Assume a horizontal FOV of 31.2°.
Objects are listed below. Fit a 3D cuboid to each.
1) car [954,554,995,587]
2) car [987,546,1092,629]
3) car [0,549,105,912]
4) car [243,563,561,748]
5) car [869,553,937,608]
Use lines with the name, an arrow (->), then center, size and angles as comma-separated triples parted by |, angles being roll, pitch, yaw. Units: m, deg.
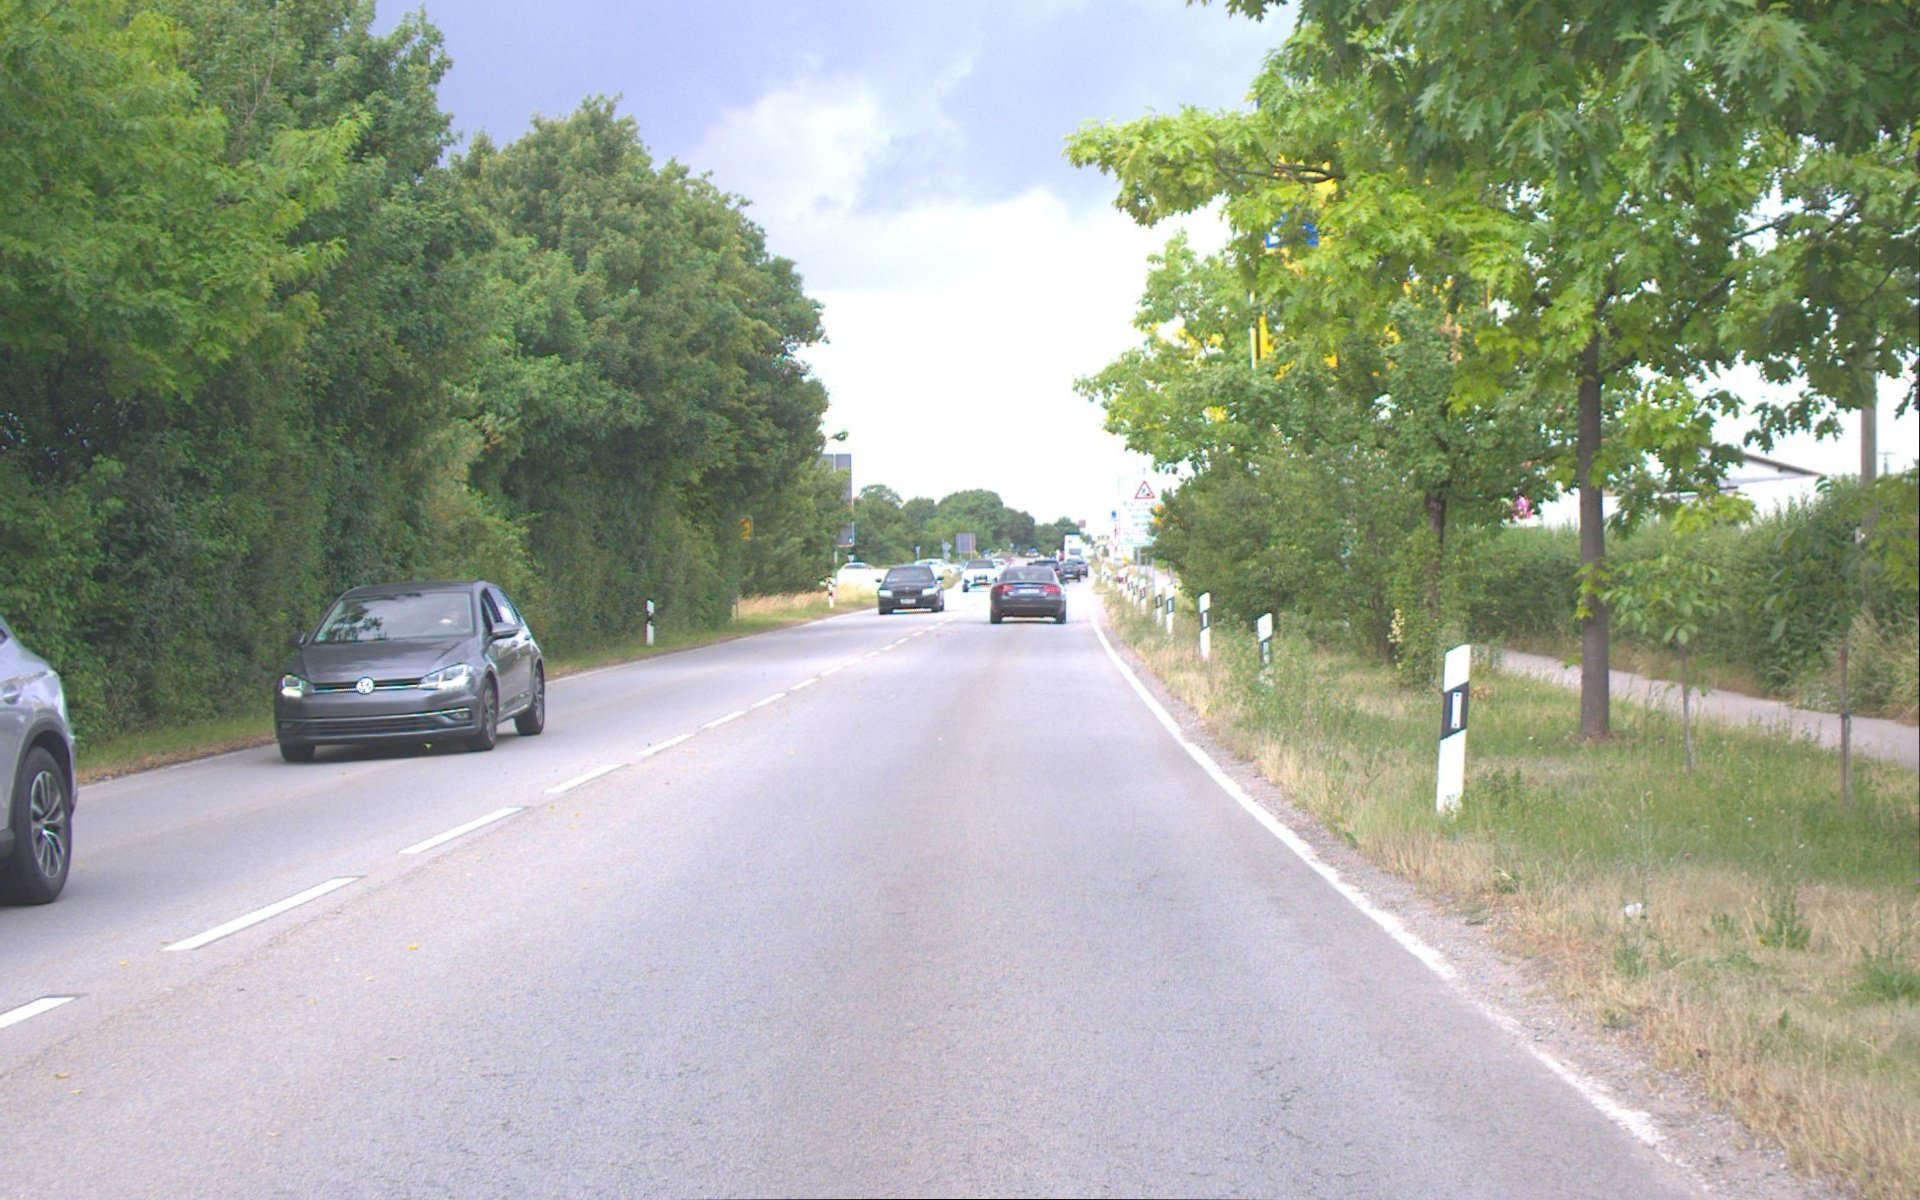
car -> 0.780, -1.585, 182.704 | 1.993, 1.678, 4.809 | -1, 1, 2
car -> 1.893, -0.311, 83.819 | 2.372, 1.874, 4.478 | -2, 0, 0
car -> -5.262, 0.616, 14.419 | 1.993, 1.596, 4.665 | -2, 0, 2
car -> -4.753, 0.435, 29.911 | 1.993, 1.414, 4.478 | -2, 0, 0
car -> -1.724, -0.598, 105.604 | 1.940, 1.580, 4.556 | -2, 0, 0
